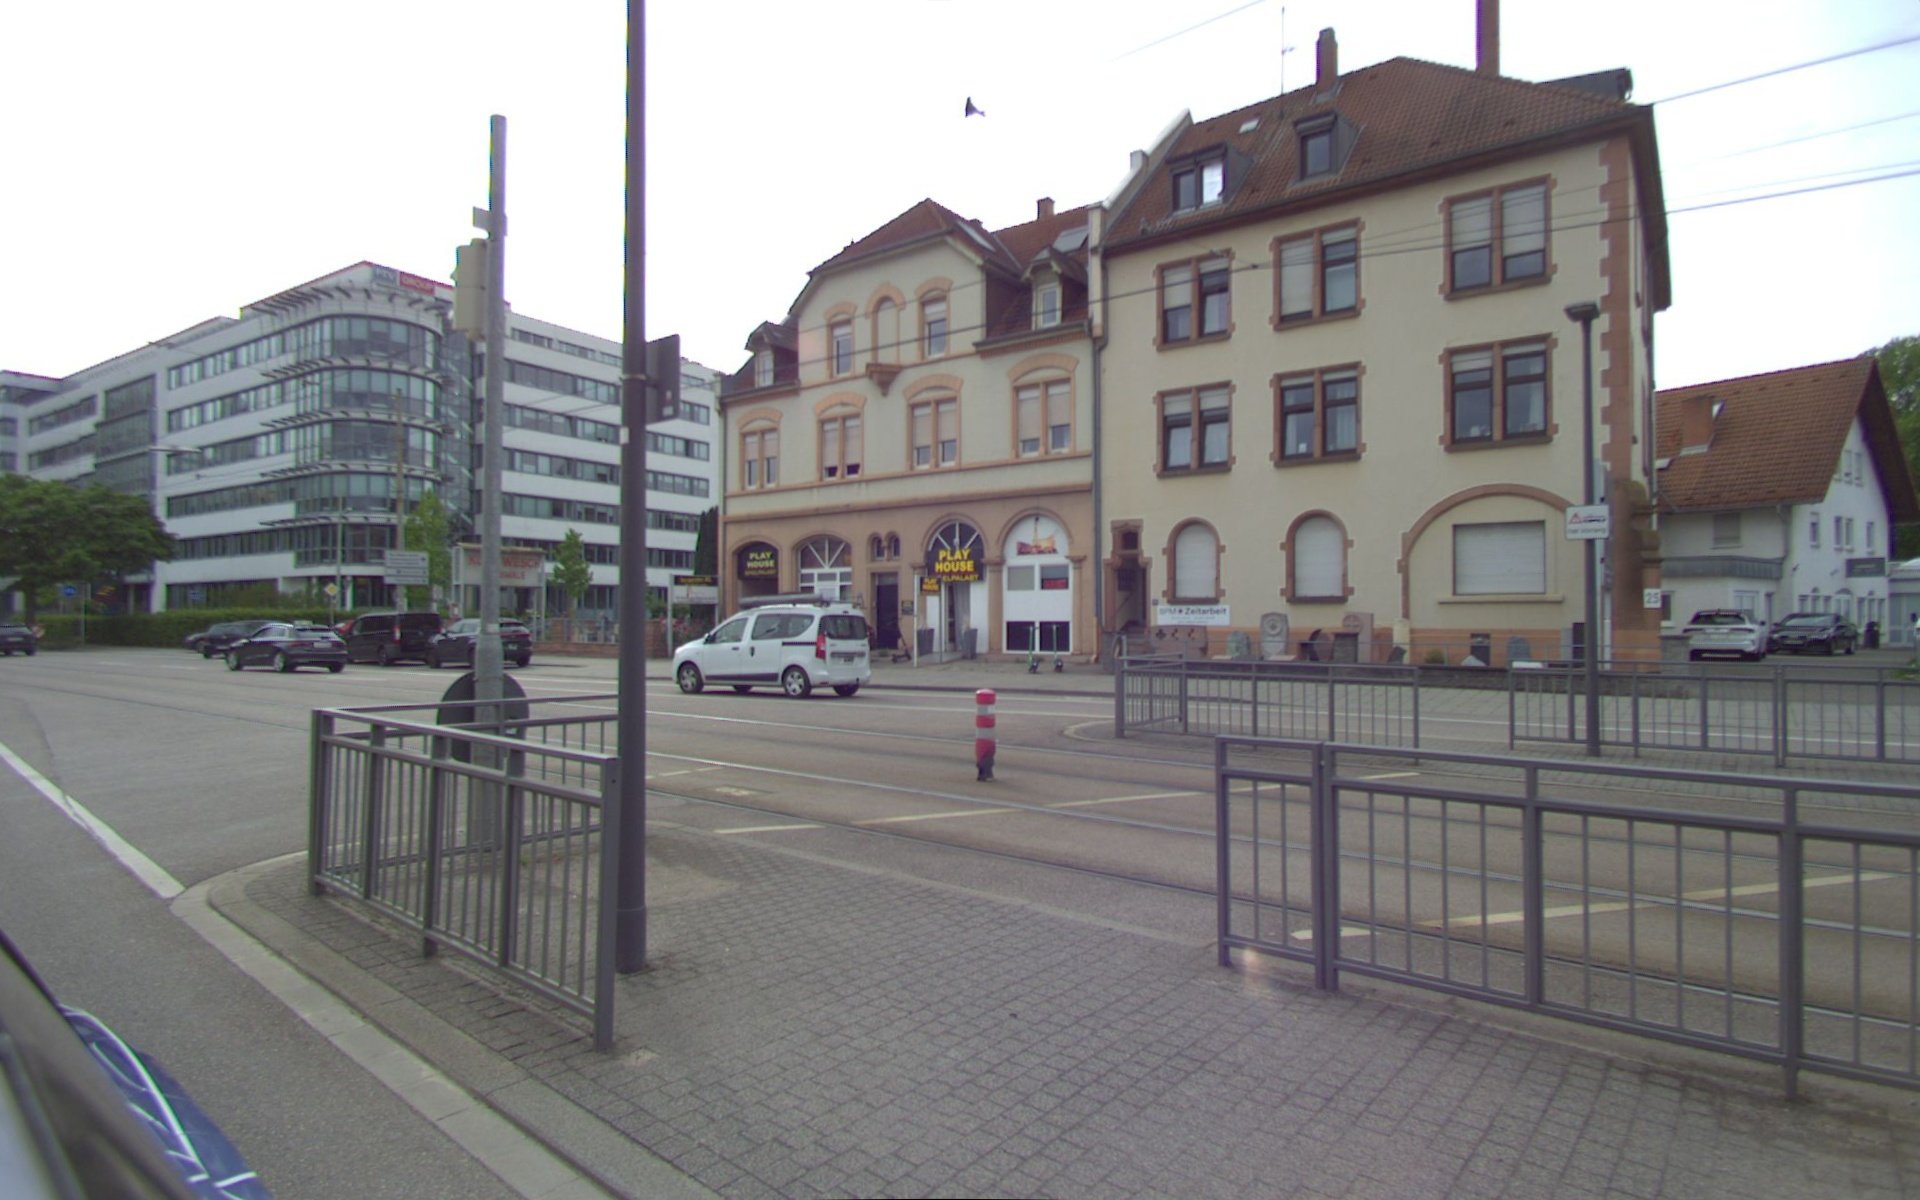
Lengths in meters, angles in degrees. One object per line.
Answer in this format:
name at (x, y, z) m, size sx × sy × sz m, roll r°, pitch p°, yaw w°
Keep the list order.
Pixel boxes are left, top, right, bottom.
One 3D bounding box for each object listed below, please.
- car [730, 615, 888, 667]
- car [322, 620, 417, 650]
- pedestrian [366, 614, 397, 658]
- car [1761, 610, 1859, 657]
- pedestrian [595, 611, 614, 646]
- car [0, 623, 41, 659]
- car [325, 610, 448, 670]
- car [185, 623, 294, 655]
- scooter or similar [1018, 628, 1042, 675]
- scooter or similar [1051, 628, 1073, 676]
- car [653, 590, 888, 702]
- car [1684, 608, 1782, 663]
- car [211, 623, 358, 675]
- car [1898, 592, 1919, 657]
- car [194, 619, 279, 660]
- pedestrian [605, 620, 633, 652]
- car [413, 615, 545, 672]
car at (-4.732, 1.212, 31.348) m, size 4.893 × 1.504 × 1.976 m, roll -1°, pitch -1°, yaw 36°
car at (-31.014, 1.825, 53.240) m, size 1.721 × 1.433 × 3.973 m, roll -3°, pitch -3°, yaw 34°
pedestrian at (-24.458, 1.501, 42.815) m, size 1.058 × 1.839 × 0.796 m, roll -1°, pitch -1°, yaw 38°
car at (28.180, 1.068, 33.537) m, size 3.589 × 1.446 × 1.721 m, roll 0°, pitch -1°, yaw -37°
pedestrian at (-18.330, 1.463, 52.123) m, size 0.761 × 1.787 × 0.628 m, roll -1°, pitch -1°, yaw 40°
car at (-41.326, 1.727, 43.056) m, size 4.801 × 1.484 × 1.891 m, roll -1°, pitch -3°, yaw 30°
car at (-21.245, 1.428, 37.399) m, size 5.173 × 2.029 × 1.969 m, roll -1°, pitch 0°, yaw 36°
car at (-33.857, 1.829, 47.670) m, size 3.918 × 1.462 × 1.822 m, roll 1°, pitch -1°, yaw -26°
scooter or similar at (1.752, 1.273, 25.267) m, size 0.521 × 1.110 × 1.175 m, roll 0°, pitch 0°, yaw 7°
scooter or similar at (2.515, 1.266, 24.939) m, size 0.521 × 1.110 × 1.175 m, roll 0°, pitch 0°, yaw 7°
car at (-3.824, 0.876, 20.208) m, size 4.509 × 2.004 × 1.870 m, roll -1°, pitch -2°, yaw 31°
car at (21.854, 0.942, 28.561) m, size 1.694 × 1.424 × 3.820 m, roll -1°, pitch -1°, yaw 45°
car at (-20.324, 1.447, 30.441) m, size 4.405 × 1.439 × 1.869 m, roll 0°, pitch -2°, yaw 29°
car at (31.996, 0.743, 32.351) m, size 5.229 × 2.000 × 2.125 m, roll 0°, pitch -2°, yaw -39°
car at (-29.671, 1.623, 41.623) m, size 1.765 × 1.542 × 4.154 m, roll 2°, pitch -3°, yaw -20°
pedestrian at (-21.641, 2.293, 64.214) m, size 1.180 × 2.029 × 1.207 m, roll -1°, pitch -2°, yaw 21°
car at (-16.317, 1.446, 34.279) m, size 4.523 × 1.762 × 2.020 m, roll -2°, pitch 0°, yaw 34°
